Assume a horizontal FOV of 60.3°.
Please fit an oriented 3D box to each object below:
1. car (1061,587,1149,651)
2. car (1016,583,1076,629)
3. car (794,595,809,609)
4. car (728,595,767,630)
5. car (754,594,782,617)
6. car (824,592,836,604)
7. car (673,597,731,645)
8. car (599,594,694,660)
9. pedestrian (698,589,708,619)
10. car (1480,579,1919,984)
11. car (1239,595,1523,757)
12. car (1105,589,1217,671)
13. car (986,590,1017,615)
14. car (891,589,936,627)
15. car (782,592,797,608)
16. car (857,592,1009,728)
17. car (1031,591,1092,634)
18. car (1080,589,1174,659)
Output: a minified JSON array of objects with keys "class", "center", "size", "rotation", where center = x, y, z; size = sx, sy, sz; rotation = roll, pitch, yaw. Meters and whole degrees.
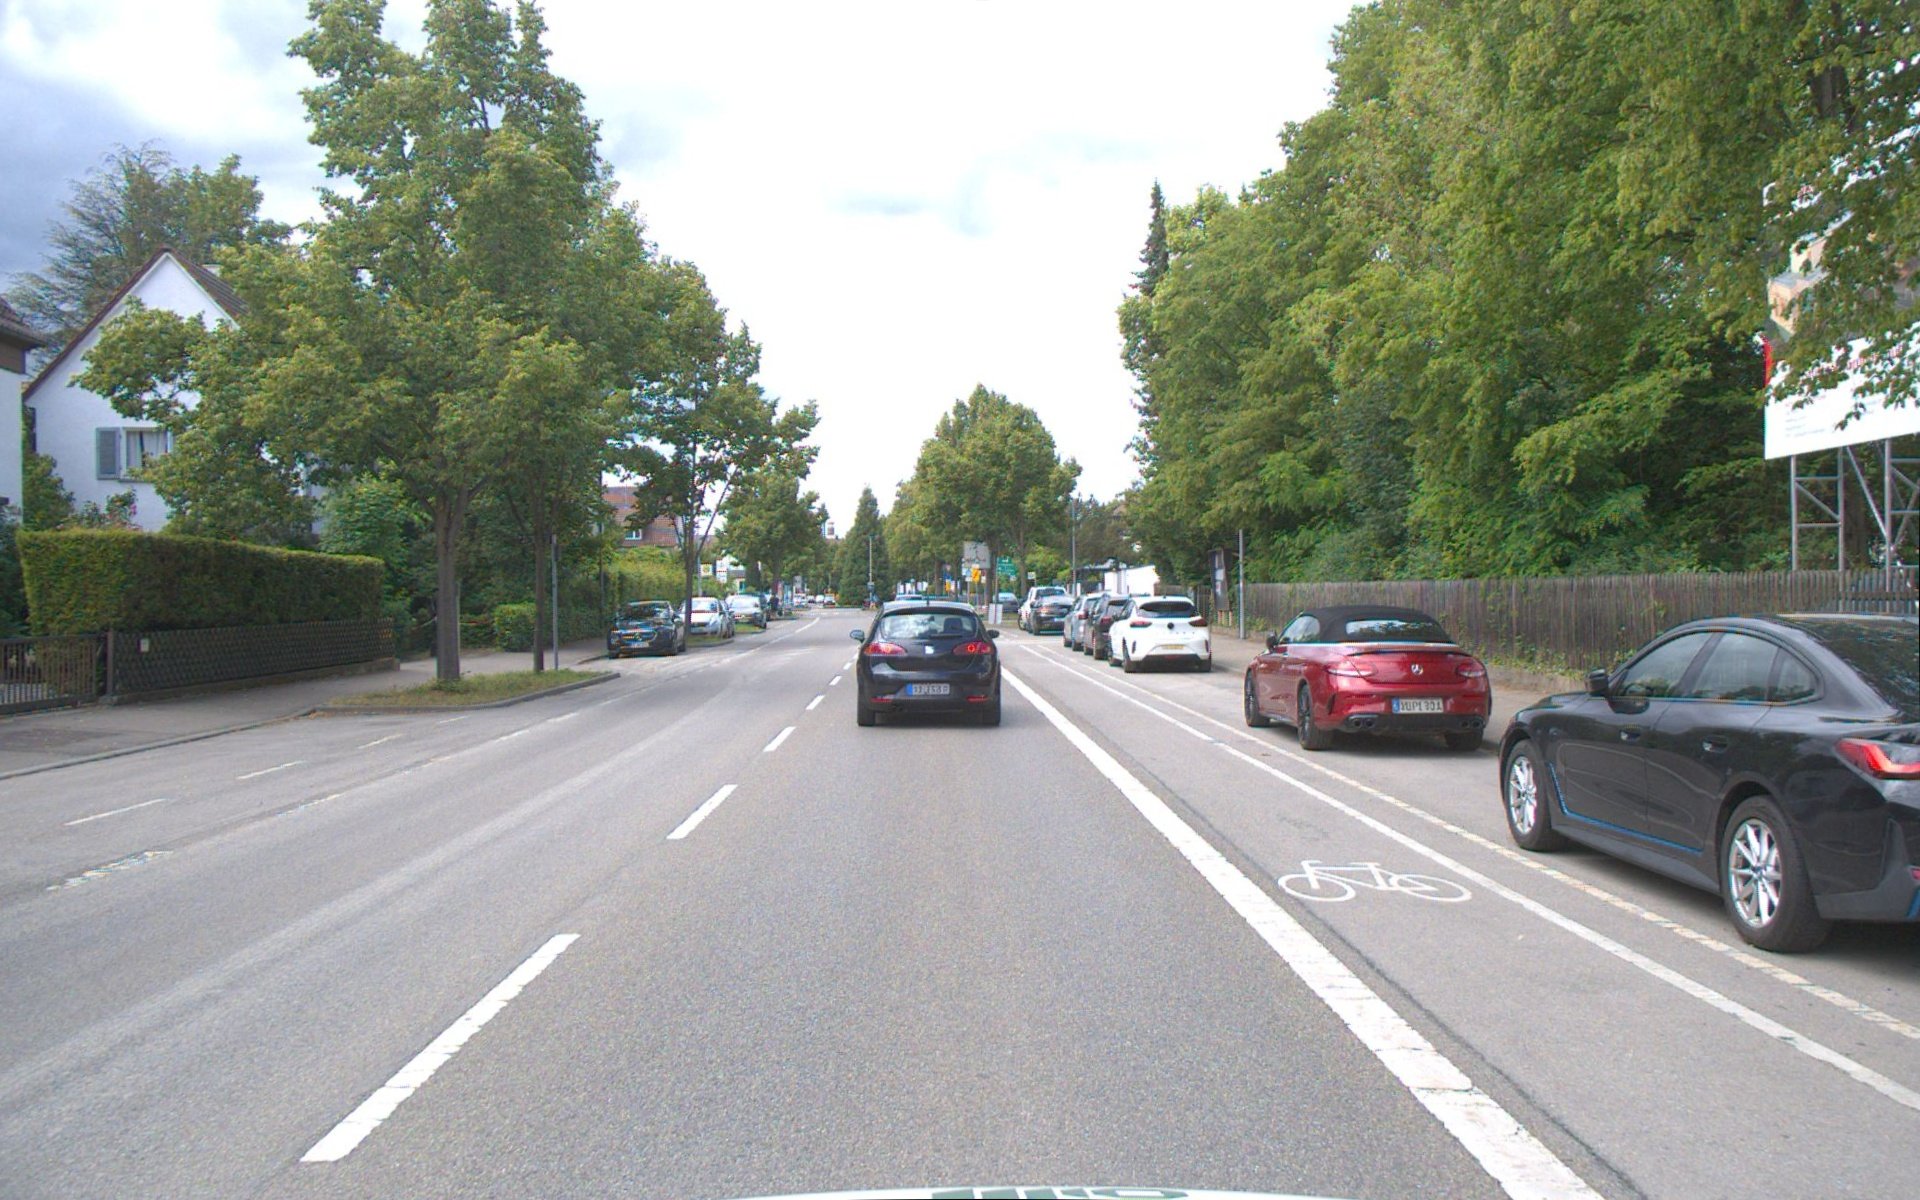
[{"class":"car","center":[3.843,0.487,44.501],"size":[1.824,1.639,4.684],"rotation":[0,0,-2]},{"class":"car","center":[3.299,0.239,64.321],"size":[1.863,1.671,4.114],"rotation":[-1,0,-3]},{"class":"car","center":[-19.349,0.190,202.026],"size":[1.762,1.629,3.997],"rotation":[-2,0,-4]},{"class":"car","center":[-10.131,0.573,79.069],"size":[1.644,1.579,4.268],"rotation":[-1,0,-5]},{"class":"car","center":[-14.451,0.370,124.617],"size":[1.823,1.682,4.292],"rotation":[-1,0,-3]},{"class":"car","center":[-18.449,-0.312,234.366],"size":[1.537,1.662,3.620],"rotation":[-1,0,-2]},{"class":"car","center":[-9.535,0.745,61.326],"size":[1.684,1.641,3.907],"rotation":[-2,0,-3]},{"class":"car","center":[-8.817,0.718,46.850],"size":[2.054,1.675,5.034],"rotation":[-2,1,-5]},{"class":"pedestrian","center":[-15.760,0.259,101.540],"size":[0.493,1.837,0.671],"rotation":[-1,0,-3]},{"class":"car","center":[4.404,0.704,8.675],"size":[1.779,1.541,4.678],"rotation":[0,0,-2]},{"class":"car","center":[4.351,0.714,17.828],"size":[1.821,1.438,4.442],"rotation":[1,1,-1]},{"class":"car","center":[4.008,0.579,33.522],"size":[1.732,1.537,4.030],"rotation":[-1,0,-1]},{"class":"car","center":[2.531,0.192,101.128],"size":[1.579,1.401,4.384],"rotation":[-1,-1,-3]},{"class":"car","center":[-2.102,0.366,74.762],"size":[1.953,1.641,3.998],"rotation":[-1,0,-2]},{"class":"car","center":[-22.632,0.012,219.557],"size":[1.991,2.005,3.995],"rotation":[-2,0,-6]},{"class":"car","center":[-0.317,0.675,20.655],"size":[1.697,1.512,3.999],"rotation":[1,0,-1]},{"class":"car","center":[3.508,0.403,57.819],"size":[1.825,1.441,4.602],"rotation":[-1,0,-1]},{"class":"car","center":[3.871,0.524,38.981],"size":[1.667,1.536,4.536],"rotation":[0,1,-1]}]
